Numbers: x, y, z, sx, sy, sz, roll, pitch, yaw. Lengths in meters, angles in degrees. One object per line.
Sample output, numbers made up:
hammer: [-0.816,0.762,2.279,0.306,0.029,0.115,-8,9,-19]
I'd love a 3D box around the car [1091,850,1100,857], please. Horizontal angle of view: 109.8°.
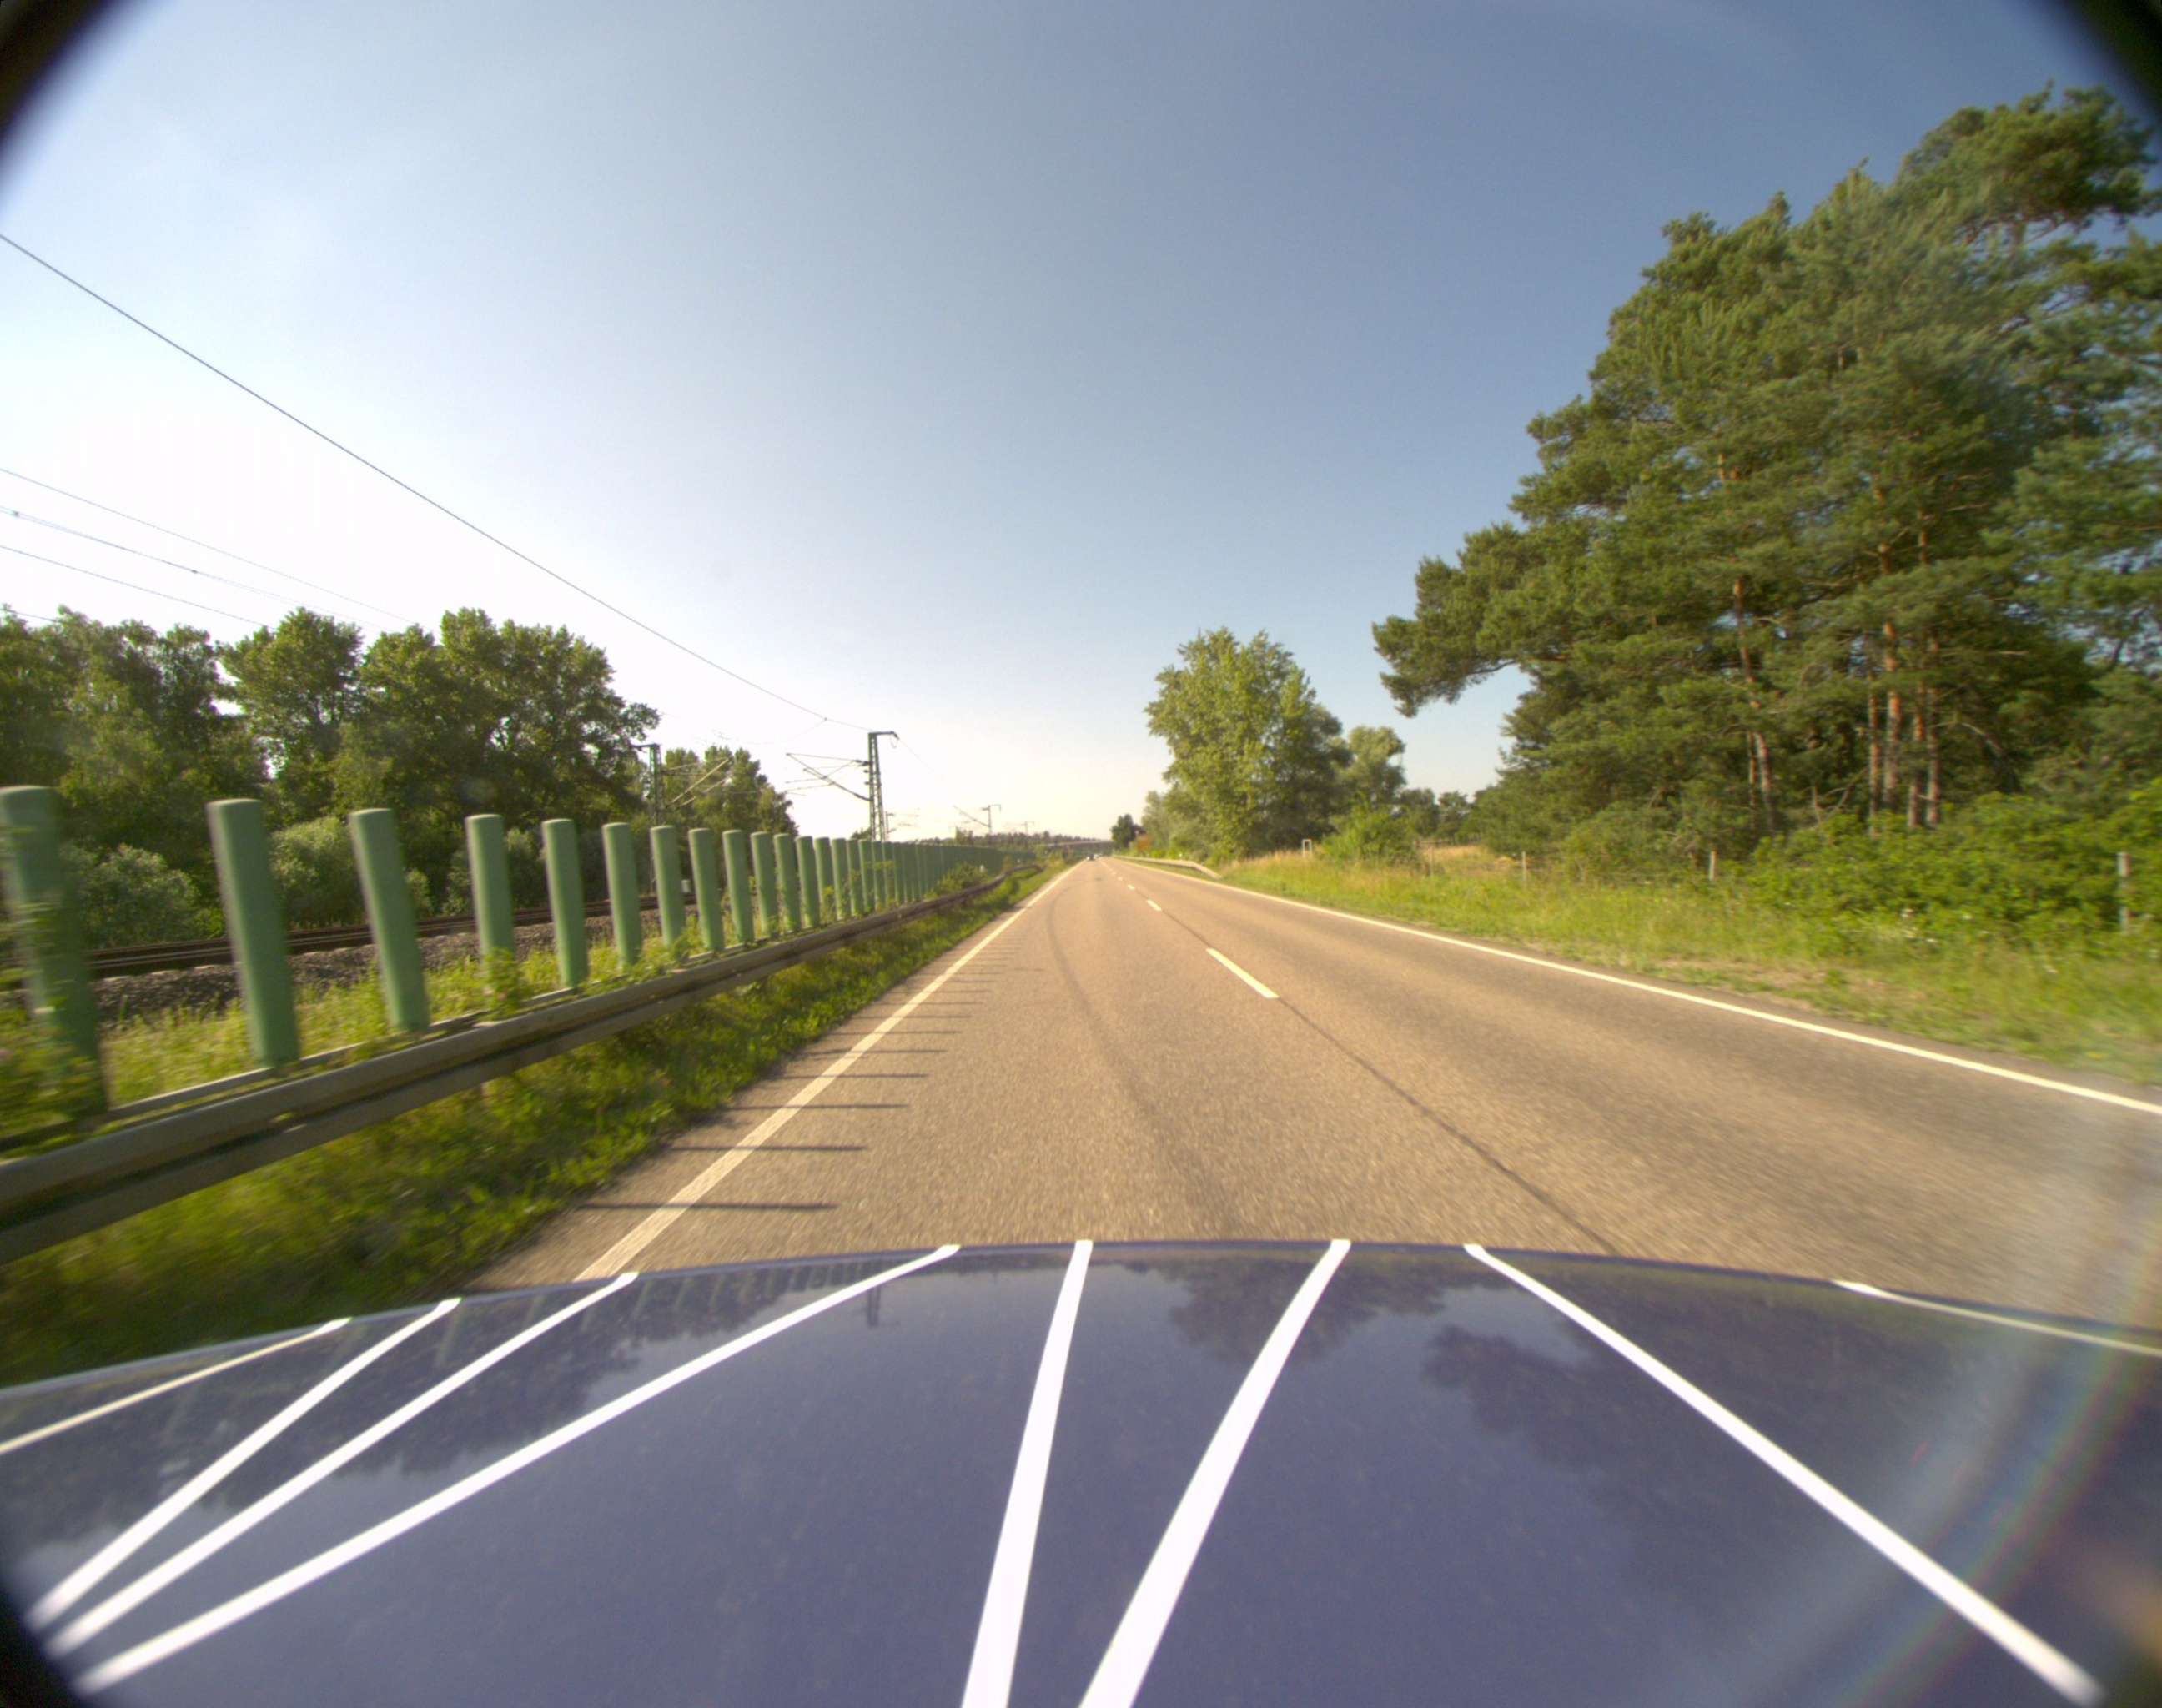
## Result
car: [3.167,-0.115,163.508,1.868,1.533,4.076,-1,0,2]
